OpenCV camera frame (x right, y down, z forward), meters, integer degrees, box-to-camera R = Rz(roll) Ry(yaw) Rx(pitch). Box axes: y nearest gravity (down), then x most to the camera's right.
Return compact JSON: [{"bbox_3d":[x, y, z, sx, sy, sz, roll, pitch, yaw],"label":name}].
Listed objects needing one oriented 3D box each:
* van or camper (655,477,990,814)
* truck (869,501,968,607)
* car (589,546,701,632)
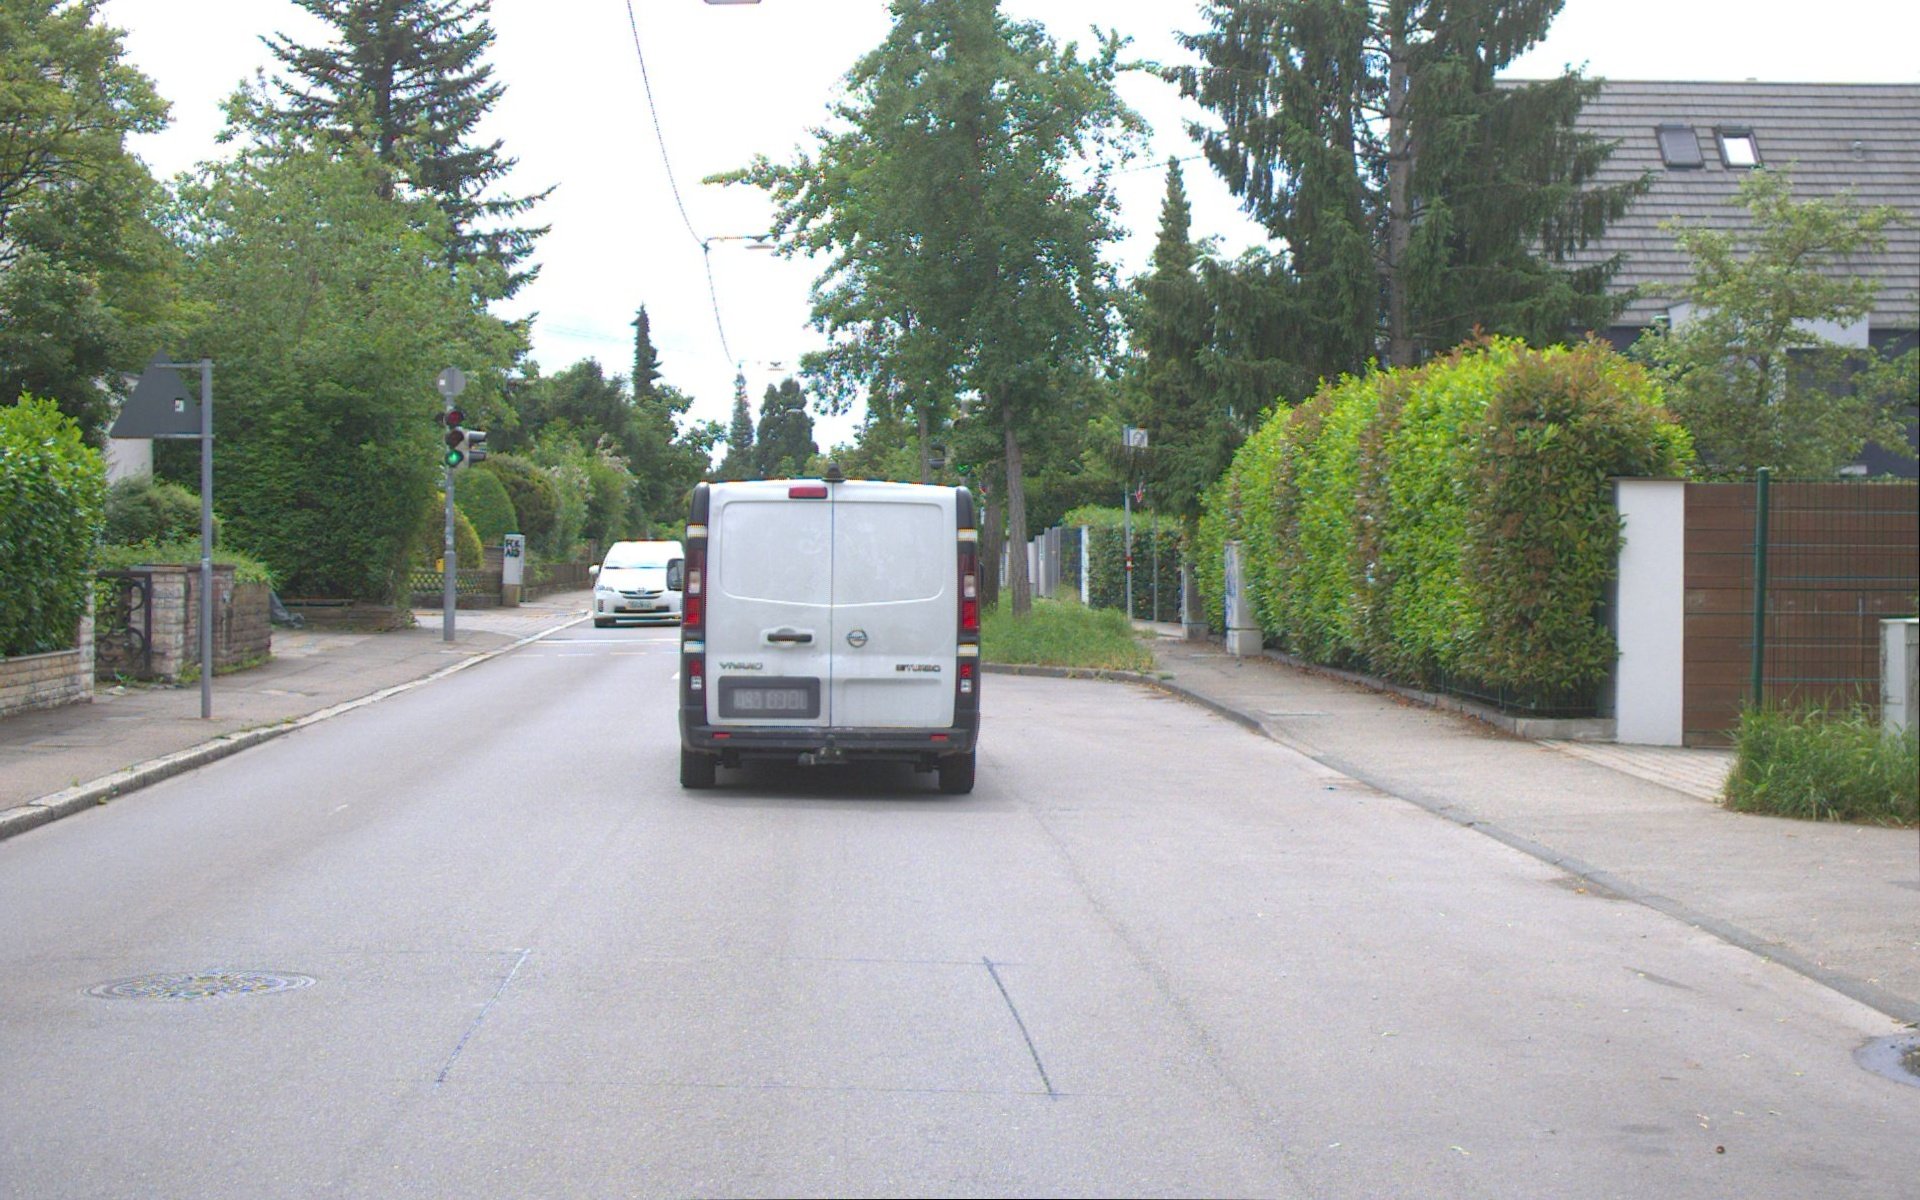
[{"bbox_3d":[-0.941,0.300,22.874,1.939,1.947,4.765,2,-1,-3],"label":"van or camper"},{"bbox_3d":[-1.090,-1.139,86.426,2.187,2.463,7.431,2,0,-2],"label":"truck"},{"bbox_3d":[-5.594,-0.223,61.409,1.854,1.446,4.282,-1,1,-4],"label":"car"}]
